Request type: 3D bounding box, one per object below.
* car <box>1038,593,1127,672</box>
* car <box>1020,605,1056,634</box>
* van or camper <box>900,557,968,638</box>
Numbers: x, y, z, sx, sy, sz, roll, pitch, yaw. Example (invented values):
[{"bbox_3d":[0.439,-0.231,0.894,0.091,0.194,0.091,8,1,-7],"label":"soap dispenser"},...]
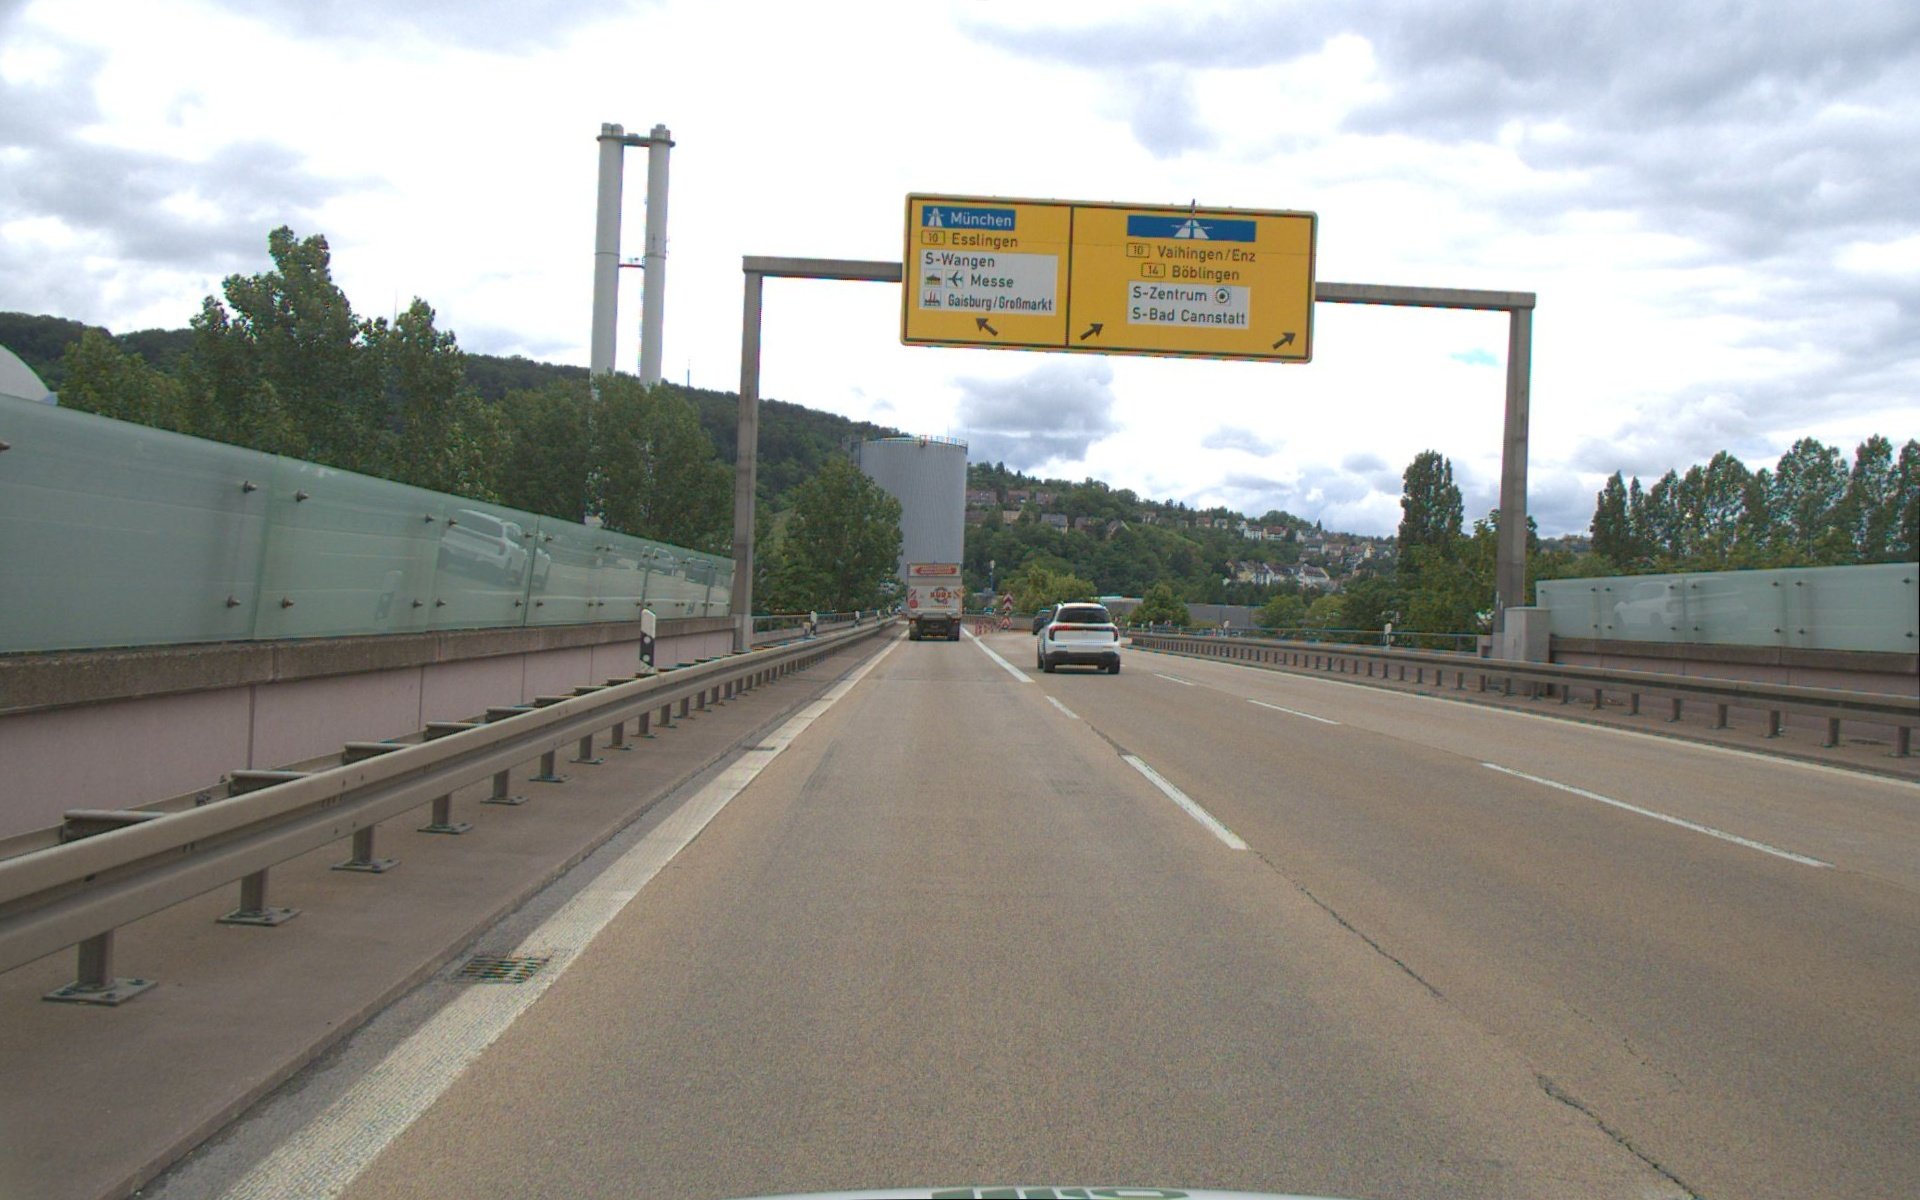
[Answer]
[{"bbox_3d":[2.973,0.760,40.854,1.884,1.817,4.113,1,0,0],"label":"car"},{"bbox_3d":[5.064,1.236,107.399,1.883,1.817,4.116,1,0,9],"label":"car"},{"bbox_3d":[-1.165,-0.089,79.129,3.058,3.642,8.549,1,0,0],"label":"van or camper"}]
